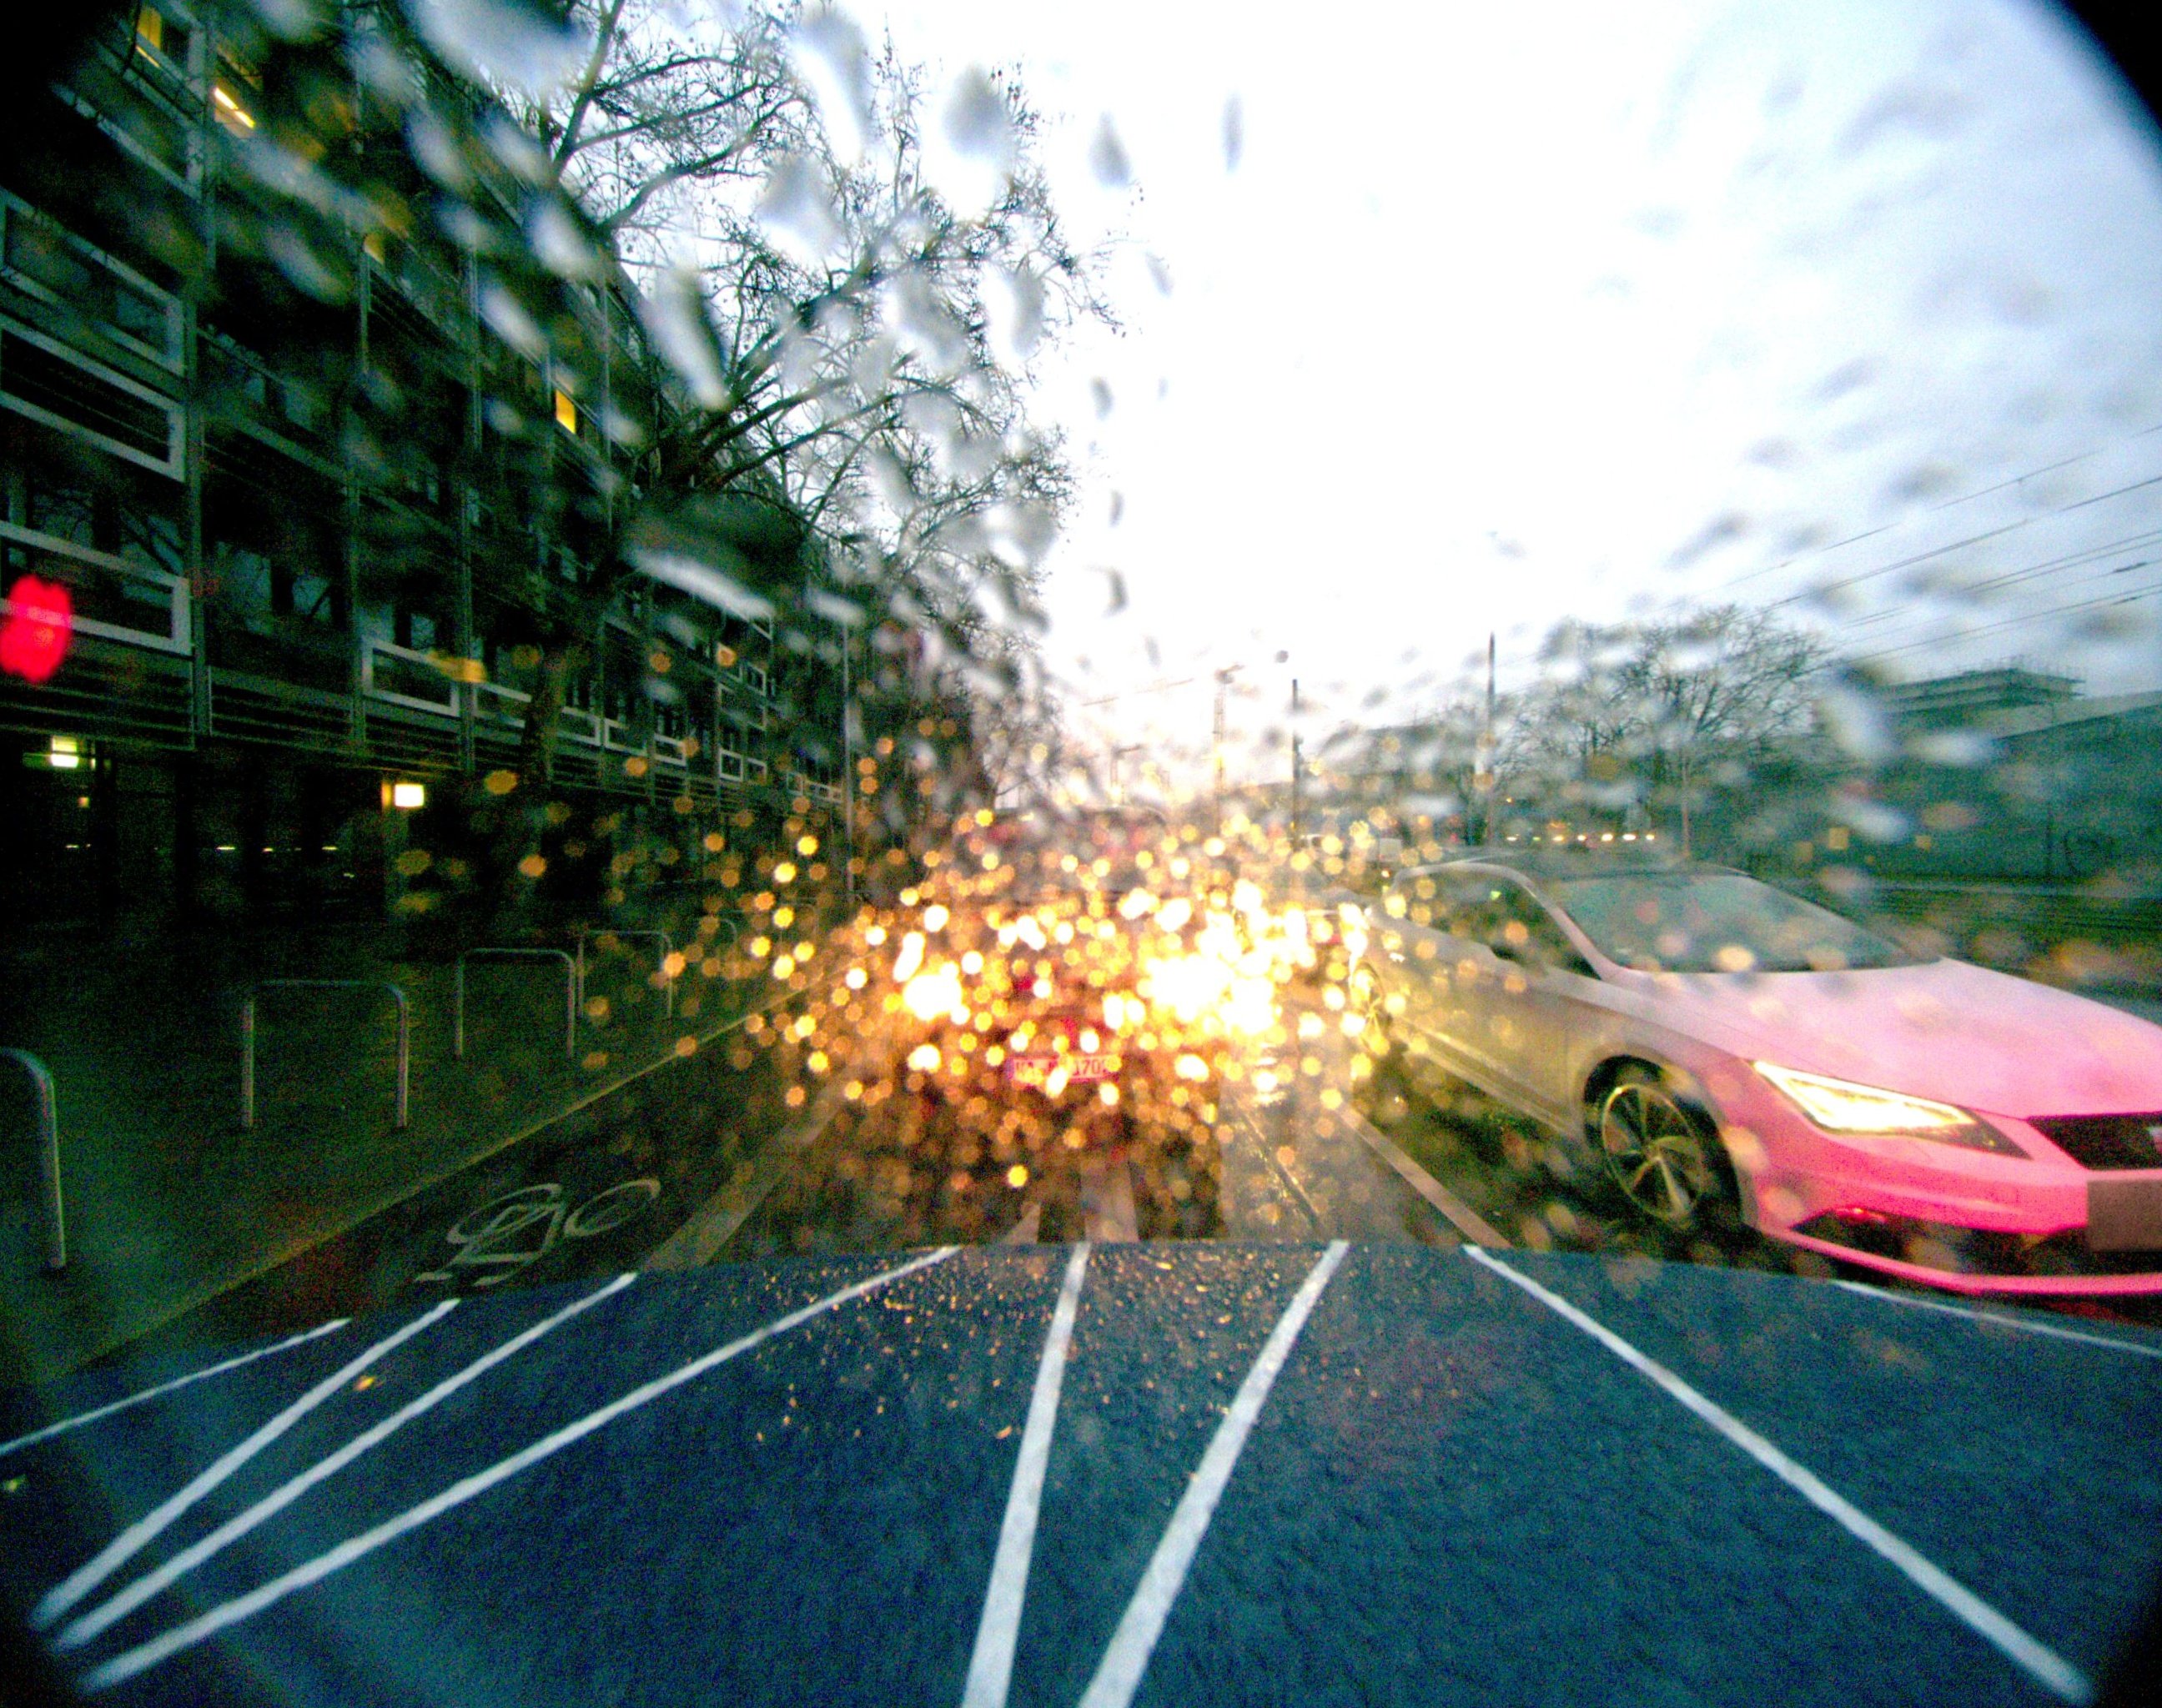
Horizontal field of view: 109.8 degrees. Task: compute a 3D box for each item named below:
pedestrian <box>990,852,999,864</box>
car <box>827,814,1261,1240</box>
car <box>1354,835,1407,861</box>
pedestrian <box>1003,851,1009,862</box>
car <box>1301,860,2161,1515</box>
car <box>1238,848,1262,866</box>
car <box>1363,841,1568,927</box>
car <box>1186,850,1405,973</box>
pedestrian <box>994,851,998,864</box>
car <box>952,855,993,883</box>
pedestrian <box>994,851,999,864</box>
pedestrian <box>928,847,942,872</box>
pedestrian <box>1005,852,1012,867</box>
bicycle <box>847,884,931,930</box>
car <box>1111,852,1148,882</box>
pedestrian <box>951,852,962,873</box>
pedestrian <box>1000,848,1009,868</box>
[{"bbox_3d":[-9.903,0.440,87.040,0.782,1.330,0.751,-2,1,1],"label":"pedestrian"},{"bbox_3d":[-0.236,0.751,5.408,1.878,1.830,3.998,-2,1,-3],"label":"car"},{"bbox_3d":[22.663,-0.427,57.586,2.095,1.884,3.997,-1,1,-7],"label":"car"},{"bbox_3d":[-11.773,0.335,119.175,0.766,1.740,0.928,0,1,-4],"label":"pedestrian"},{"bbox_3d":[2.981,0.838,4.171,1.949,1.478,4.504,-2,0,-4],"label":"car"},{"bbox_3d":[20.567,0.345,92.801,1.998,2.002,3.999,-2,1,1],"label":"car"},{"bbox_3d":[7.744,0.498,15.897,1.853,1.499,4.662,-1,1,-1],"label":"car"},{"bbox_3d":[2.947,0.700,11.593,1.999,1.478,4.504,-1,0,-1],"label":"car"},{"bbox_3d":[-11.707,0.498,104.453,0.585,1.740,0.668,0,1,-4],"label":"pedestrian"},{"bbox_3d":[-6.133,0.818,43.323,1.713,1.455,3.999,-2,1,1],"label":"car"},{"bbox_3d":[-11.857,0.477,106.824,0.585,1.740,0.668,0,1,-4],"label":"pedestrian"},{"bbox_3d":[-12.691,0.467,66.177,1.062,2.182,1.110,-2,1,-11],"label":"pedestrian"},{"bbox_3d":[-8.260,0.593,86.706,0.766,1.740,0.928,0,1,-4],"label":"pedestrian"},{"bbox_3d":[-4.444,1.218,17.657,1.704,0.987,0.879,1,1,0],"label":"bicycle"},{"bbox_3d":[2.792,0.721,44.708,1.907,1.565,3.999,-2,1,1],"label":"car"},{"bbox_3d":[-10.253,0.703,62.461,0.766,1.740,0.928,0,1,-4],"label":"pedestrian"},{"bbox_3d":[-6.890,0.345,68.154,0.766,1.740,0.928,0,1,-4],"label":"pedestrian"}]
